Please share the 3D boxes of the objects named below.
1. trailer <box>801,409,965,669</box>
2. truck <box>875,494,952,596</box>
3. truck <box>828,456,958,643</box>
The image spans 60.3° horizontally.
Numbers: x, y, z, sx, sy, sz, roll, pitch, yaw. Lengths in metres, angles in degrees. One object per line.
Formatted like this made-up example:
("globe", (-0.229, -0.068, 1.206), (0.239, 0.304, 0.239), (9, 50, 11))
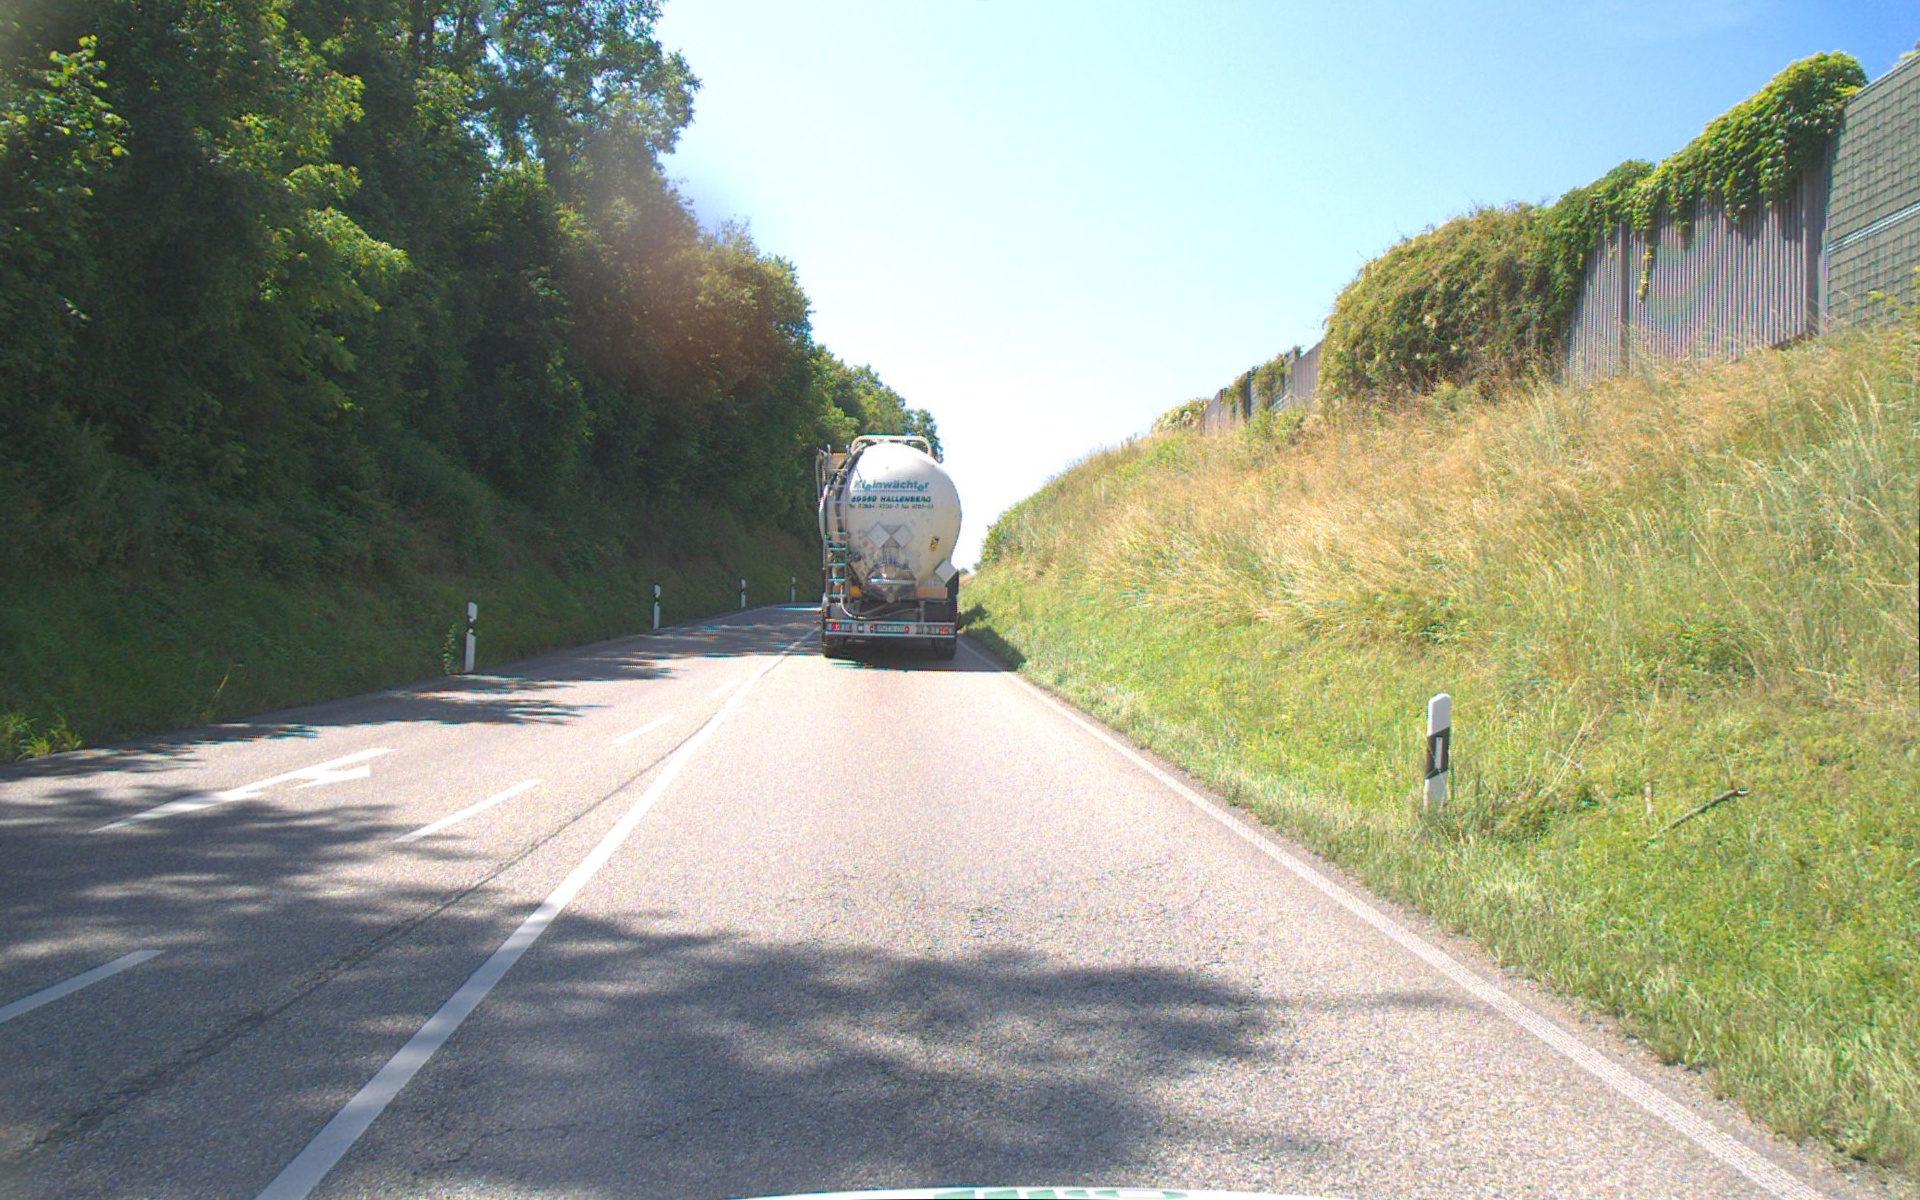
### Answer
("trailer", (-1.415, -1.172, 33.691), (2.607, 4.261, 11.903), (2, 1, -1))
("truck", (-2.142, -2.567, 80.953), (3.126, 4.383, 11.799), (5, 1, -1))
("truck", (-1.462, -1.122, 39.696), (2.671, 3.998, 7.263), (2, 0, 0))
